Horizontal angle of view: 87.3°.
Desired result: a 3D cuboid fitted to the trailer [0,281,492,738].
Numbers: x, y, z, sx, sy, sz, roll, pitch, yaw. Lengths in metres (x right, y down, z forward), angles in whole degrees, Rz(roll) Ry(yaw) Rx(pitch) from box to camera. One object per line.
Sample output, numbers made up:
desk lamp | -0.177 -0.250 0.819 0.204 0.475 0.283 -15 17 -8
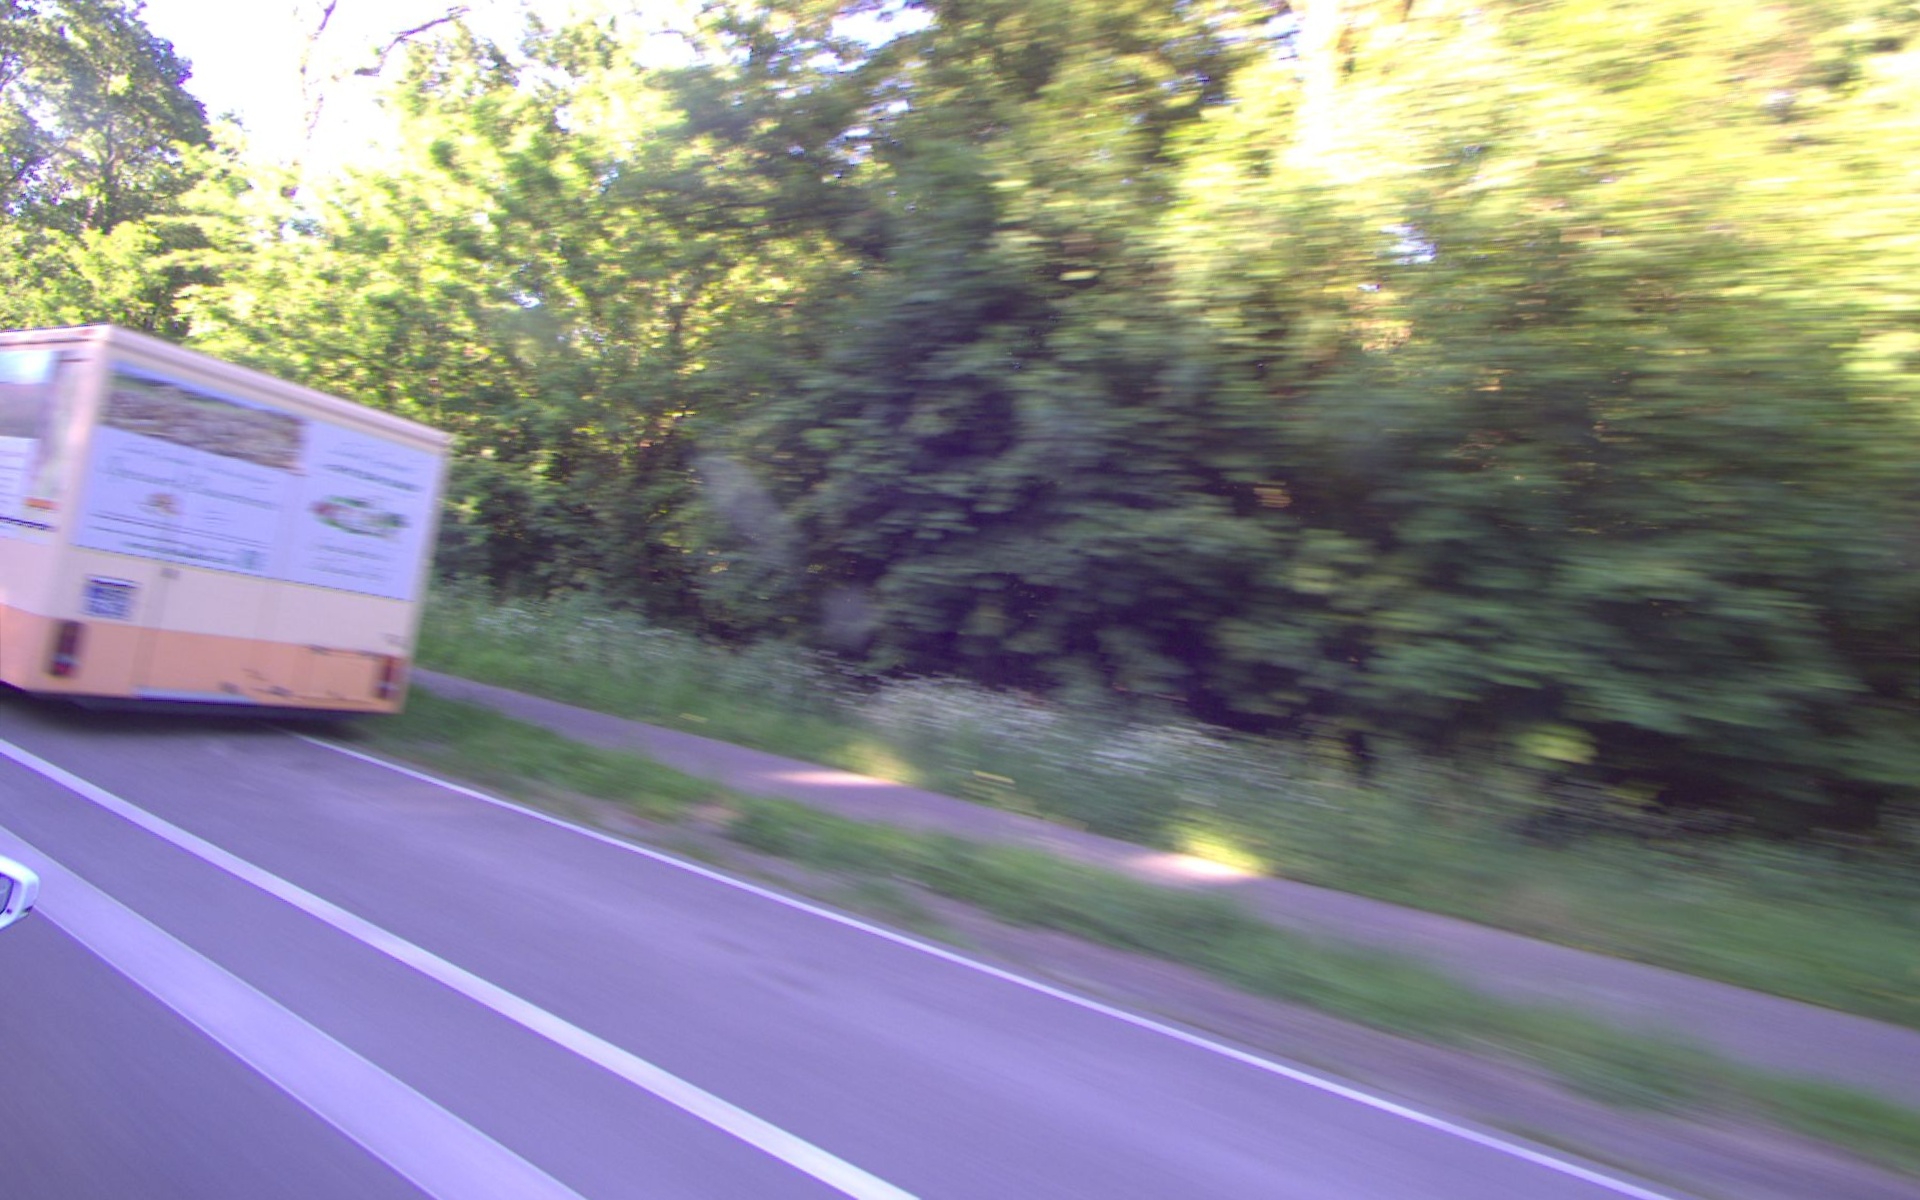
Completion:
trailer | -9.203 -0.854 10.097 9.718 2.871 2.930 6 -4 31
